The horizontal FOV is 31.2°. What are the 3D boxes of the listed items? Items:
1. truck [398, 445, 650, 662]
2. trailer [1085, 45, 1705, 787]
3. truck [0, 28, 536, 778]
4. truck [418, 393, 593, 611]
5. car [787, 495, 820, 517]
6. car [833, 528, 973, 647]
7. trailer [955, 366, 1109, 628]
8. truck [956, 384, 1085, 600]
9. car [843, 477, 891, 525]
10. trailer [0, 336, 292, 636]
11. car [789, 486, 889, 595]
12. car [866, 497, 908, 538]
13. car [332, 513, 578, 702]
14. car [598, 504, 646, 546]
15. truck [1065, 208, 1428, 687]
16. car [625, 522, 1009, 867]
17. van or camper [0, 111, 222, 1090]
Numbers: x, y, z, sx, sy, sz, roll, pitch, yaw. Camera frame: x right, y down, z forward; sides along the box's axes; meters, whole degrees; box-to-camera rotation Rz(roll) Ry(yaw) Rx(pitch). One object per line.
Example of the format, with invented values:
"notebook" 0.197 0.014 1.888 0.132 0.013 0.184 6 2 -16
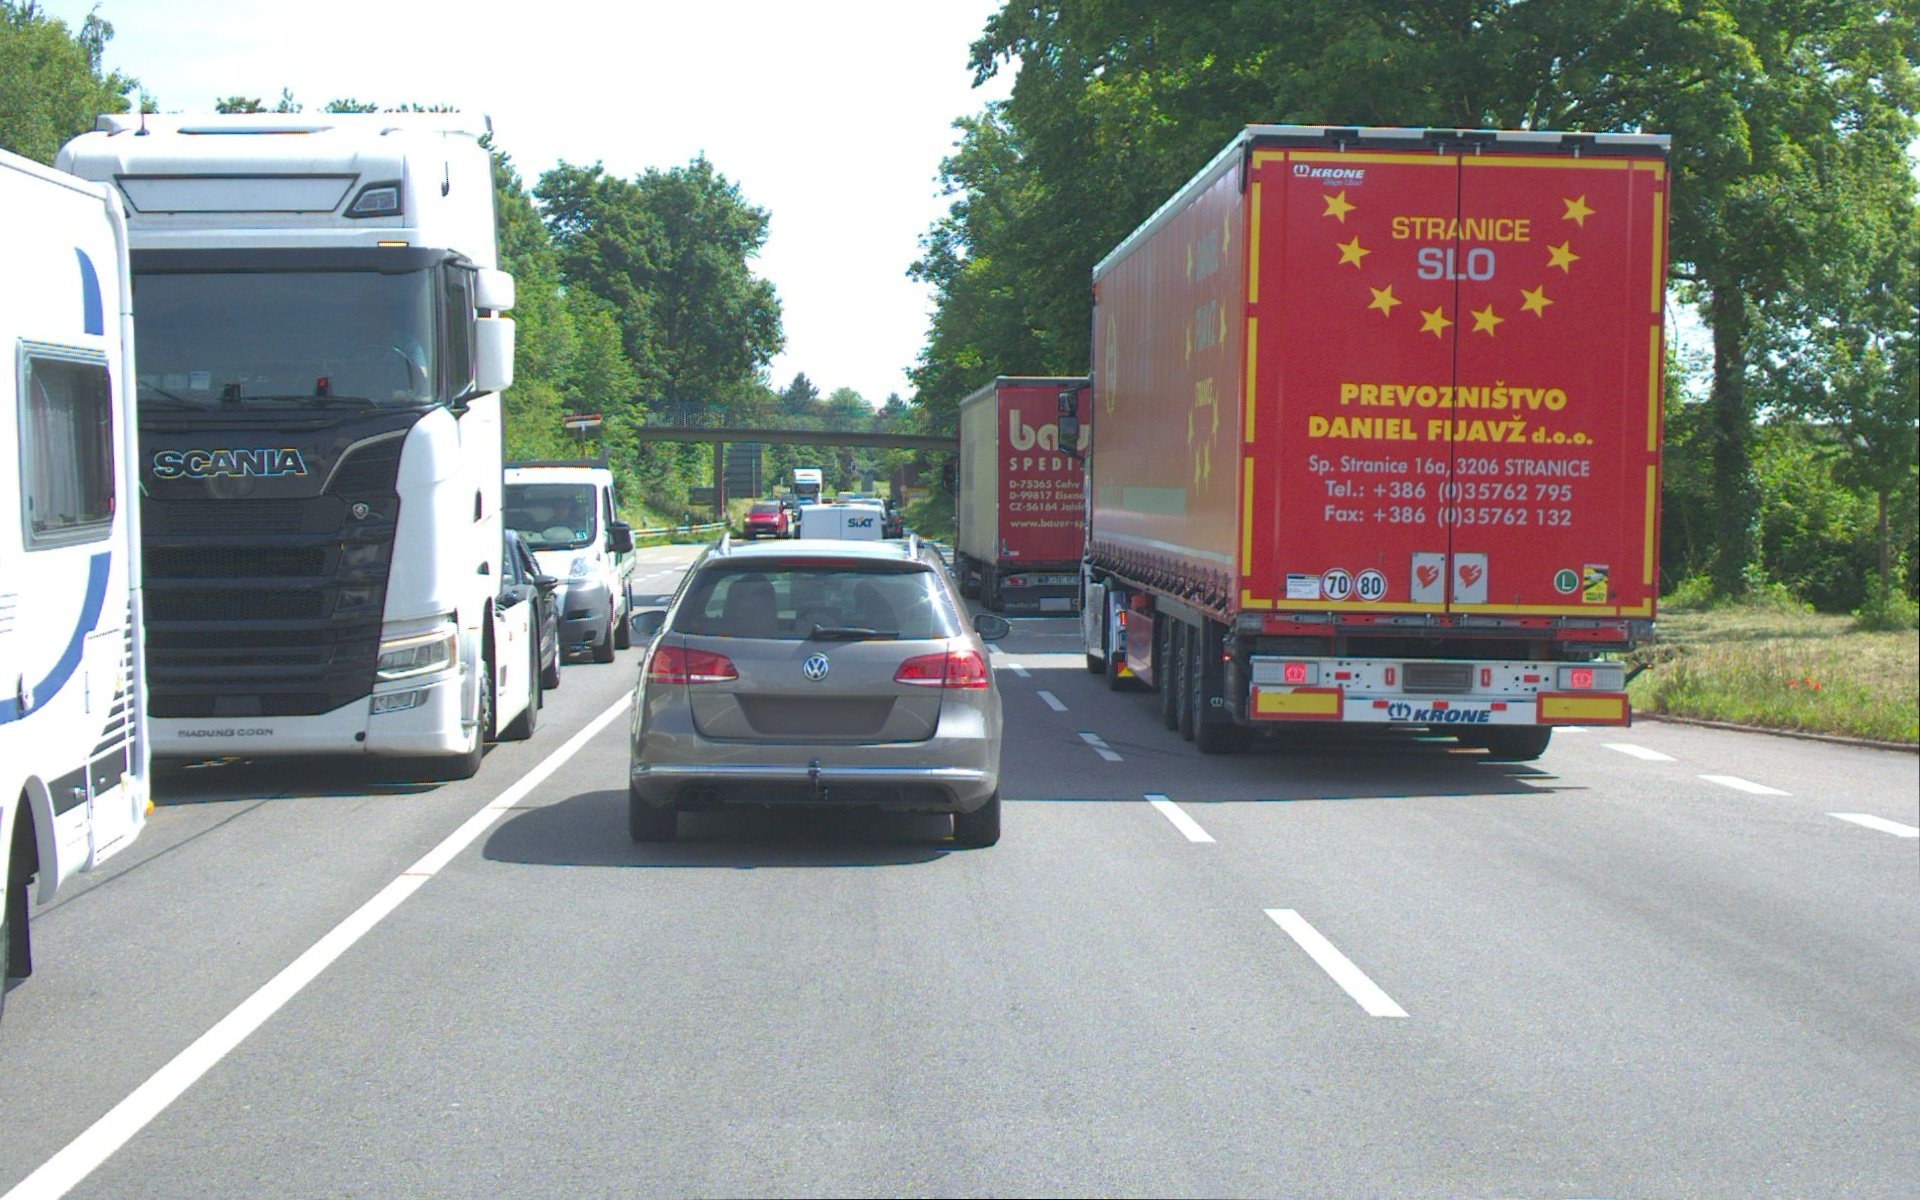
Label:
"truck" -4.912 -0.553 39.702 2.227 2.260 6.500 -1 1 -2
"trailer" 2.824 -1.213 26.993 2.839 4.350 13.169 1 1 -1
"truck" -4.247 -1.142 22.007 2.536 4.074 6.267 -1 1 -3
"truck" -7.765 -1.657 59.400 2.343 3.508 6.698 -1 1 -2
"car" -10.571 -6.373 232.604 1.963 1.410 4.000 -1 1 2
"car" -0.815 -0.198 46.709 1.770 1.508 4.001 -1 1 -2
"trailer" 1.168 -1.810 62.785 2.395 4.228 13.079 -1 1 0
"truck" 1.159 -2.131 68.812 2.406 4.113 5.521 -1 1 0
"car" -4.063 -4.290 149.801 1.993 2.007 4.001 -1 1 -2
"trailer" -12.086 -1.641 51.385 2.840 4.055 8.757 -1 1 -3
"car" -2.260 -1.102 63.828 1.770 1.930 3.978 -1 1 -2
"car" -3.693 -4.148 172.712 1.993 2.007 4.001 -1 1 -2
"car" -4.452 0.026 30.791 1.710 1.546 4.109 -1 1 -2
"car" -15.172 -3.366 154.456 1.972 1.790 4.810 -1 1 -4
"truck" 2.678 -1.430 33.962 2.870 4.266 5.840 1 1 -2
"car" -0.725 0.384 17.368 1.691 1.508 4.001 -1 1 -2
"van or camper" -3.697 0.020 8.556 2.330 2.591 6.979 -1 1 -1
